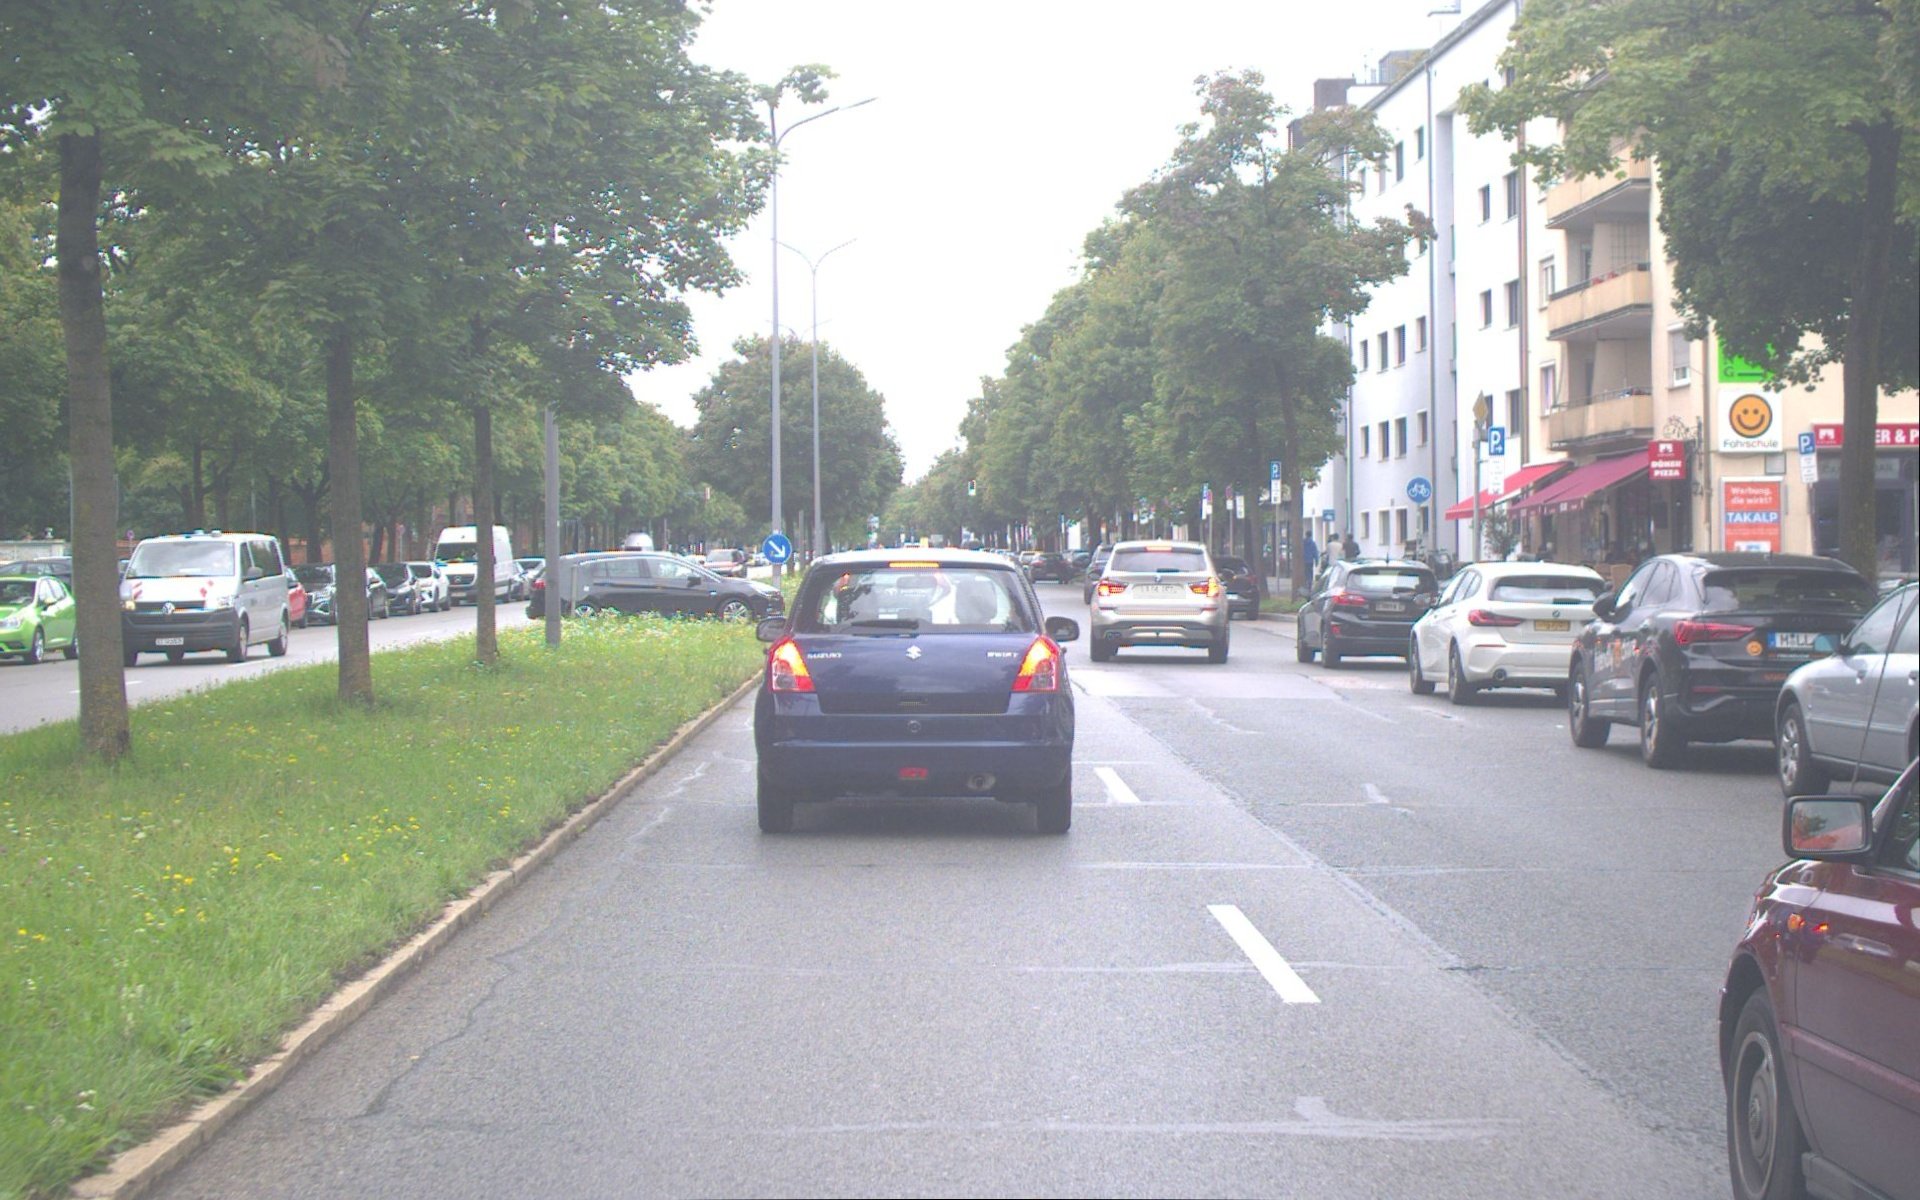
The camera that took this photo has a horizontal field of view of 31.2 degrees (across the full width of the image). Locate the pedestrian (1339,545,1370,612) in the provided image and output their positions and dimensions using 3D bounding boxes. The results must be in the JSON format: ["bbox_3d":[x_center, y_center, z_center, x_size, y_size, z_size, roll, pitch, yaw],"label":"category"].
[{"bbox_3d":[11.894,-0.645,103.671,0.794,2.007,1.006,0,1,0],"label":"pedestrian"}]

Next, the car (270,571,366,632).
[{"bbox_3d":[-15.550,0.021,83.421,1.667,1.441,3.879,0,0,-1],"label":"car"}]

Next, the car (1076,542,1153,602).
[{"bbox_3d":[4.466,-0.825,99.685,1.865,1.677,4.225,-1,1,-2],"label":"car"}]

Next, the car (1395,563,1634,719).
[{"bbox_3d":[5.705,0.381,35.801,1.682,1.460,4.137,2,1,-1],"label":"car"}]

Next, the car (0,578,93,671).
[{"bbox_3d":[-15.392,0.388,55.680,1.547,1.404,3.879,-2,1,2],"label":"car"}]

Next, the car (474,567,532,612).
[{"bbox_3d":[-16.259,-0.373,122.541,1.632,1.577,3.879,0,0,-1],"label":"car"}]

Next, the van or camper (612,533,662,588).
[{"bbox_3d":[-19.820,-2.419,211.391,2.561,3.285,6.938,0,0,-1],"label":"van or camper"}]

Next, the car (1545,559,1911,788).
[{"bbox_3d":[5.624,0.477,25.699,1.716,1.528,4.276,1,1,-1],"label":"car"}]

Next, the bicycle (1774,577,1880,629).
[{"bbox_3d":[16.422,0.057,65.148,1.847,0.954,0.557,0,0,-1],"label":"bicycle"}]

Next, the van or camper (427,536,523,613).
[{"bbox_3d":[-16.121,-0.855,114.659,2.117,2.473,7.449,0,0,0],"label":"van or camper"}]

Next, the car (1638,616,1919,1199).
[{"bbox_3d":[2.495,0.763,6.093,1.682,1.379,3.919,1,1,-2],"label":"car"}]

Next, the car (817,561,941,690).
[{"bbox_3d":[-0.992,0.281,41.565,1.444,1.478,3.107,0,1,-2],"label":"car"}]

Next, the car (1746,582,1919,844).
[{"bbox_3d":[5.942,0.621,19.716,1.635,1.381,4.245,1,1,-3],"label":"car"}]

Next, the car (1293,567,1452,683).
[{"bbox_3d":[5.501,0.303,46.211,1.617,1.460,3.674,1,0,-1],"label":"car"}]

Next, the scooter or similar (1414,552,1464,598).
[{"bbox_3d":[13.695,-0.725,98.405,1.033,1.303,2.755,0,1,0],"label":"scooter or similar"}]

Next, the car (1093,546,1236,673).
[{"bbox_3d":[2.880,0.099,47.885,1.866,1.655,4.407,1,1,4],"label":"car"}]

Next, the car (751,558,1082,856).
[{"bbox_3d":[-0.278,0.519,19.431,1.682,1.496,3.919,0,1,-2],"label":"car"}]

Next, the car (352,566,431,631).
[{"bbox_3d":[-15.709,-0.053,95.147,1.632,1.735,3.879,0,0,-1],"label":"car"}]

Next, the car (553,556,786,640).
[{"bbox_3d":[-5.269,-0.048,62.145,4.121,1.463,1.840,-1,1,-6],"label":"car"}]

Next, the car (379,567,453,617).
[{"bbox_3d":[-15.869,-0.238,100.481,1.632,1.426,3.879,0,0,-1],"label":"car"}]

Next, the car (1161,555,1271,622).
[{"bbox_3d":[5.695,-0.281,76.835,1.865,1.412,4.225,-1,1,-4],"label":"car"}]

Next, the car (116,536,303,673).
[{"bbox_3d":[-11.360,0.043,52.357,1.799,1.927,4.994,-2,0,-1],"label":"car"}]

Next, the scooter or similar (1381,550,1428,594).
[{"bbox_3d":[13.348,-0.849,103.350,1.033,1.303,2.755,0,1,0],"label":"scooter or similar"}]

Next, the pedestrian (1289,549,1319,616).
[{"bbox_3d":[10.347,-0.535,103.465,0.794,2.007,1.006,0,1,0],"label":"pedestrian"}]

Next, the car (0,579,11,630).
[{"bbox_3d":[-29.130,0.106,97.782,3.865,1.441,1.673,0,0,-6],"label":"car"}]
